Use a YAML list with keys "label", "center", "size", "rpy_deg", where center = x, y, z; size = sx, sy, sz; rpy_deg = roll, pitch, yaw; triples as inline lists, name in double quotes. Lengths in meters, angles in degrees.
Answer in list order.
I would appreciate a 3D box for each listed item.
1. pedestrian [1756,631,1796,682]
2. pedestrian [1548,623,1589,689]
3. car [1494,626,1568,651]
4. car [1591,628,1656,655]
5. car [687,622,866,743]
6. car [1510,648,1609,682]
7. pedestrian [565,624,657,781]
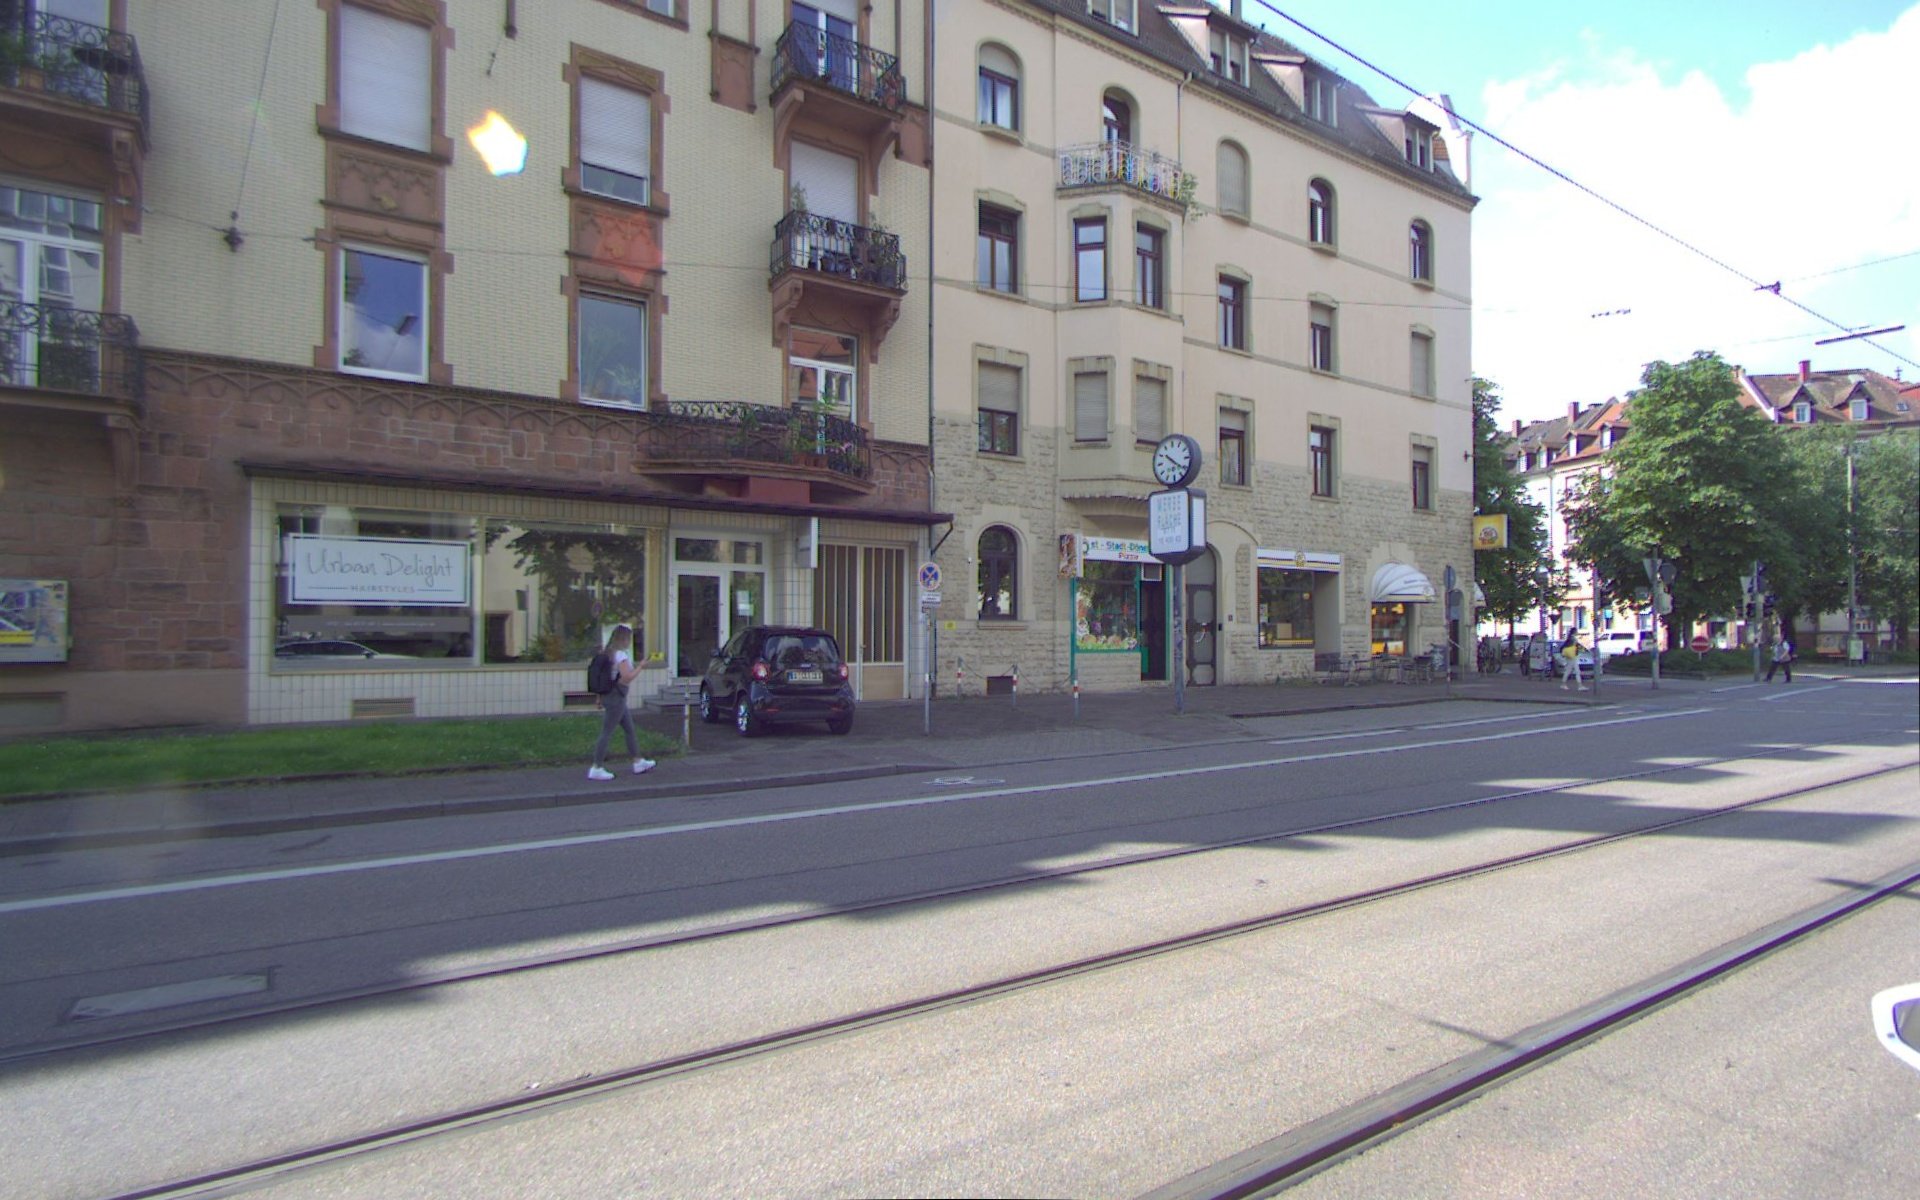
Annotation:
- label: "pedestrian"
  center: [28.231, 1.941, 34.762]
  size: [0.709, 1.728, 0.819]
  rpy_deg: [1, -2, -25]
- label: "pedestrian"
  center: [16.934, 1.547, 27.967]
  size: [0.792, 1.777, 0.679]
  rpy_deg: [1, -2, -33]
- label: "car"
  center: [38.798, 2.605, 68.306]
  size: [1.976, 1.617, 3.970]
  rpy_deg: [1, -2, -29]
- label: "car"
  center: [49.069, 3.084, 74.407]
  size: [1.962, 1.929, 3.997]
  rpy_deg: [0, -2, -6]
- label: "car"
  center: [-2.891, 1.160, 15.356]
  size: [1.716, 1.505, 3.162]
  rpy_deg: [1, 1, -30]
- label: "car"
  center: [23.208, 2.479, 39.043]
  size: [1.645, 1.198, 4.002]
  rpy_deg: [0, -2, 4]
- label: "pedestrian"
  center: [-3.743, 1.060, 10.751]
  size: [0.757, 1.562, 0.752]
  rpy_deg: [1, 2, -32]
